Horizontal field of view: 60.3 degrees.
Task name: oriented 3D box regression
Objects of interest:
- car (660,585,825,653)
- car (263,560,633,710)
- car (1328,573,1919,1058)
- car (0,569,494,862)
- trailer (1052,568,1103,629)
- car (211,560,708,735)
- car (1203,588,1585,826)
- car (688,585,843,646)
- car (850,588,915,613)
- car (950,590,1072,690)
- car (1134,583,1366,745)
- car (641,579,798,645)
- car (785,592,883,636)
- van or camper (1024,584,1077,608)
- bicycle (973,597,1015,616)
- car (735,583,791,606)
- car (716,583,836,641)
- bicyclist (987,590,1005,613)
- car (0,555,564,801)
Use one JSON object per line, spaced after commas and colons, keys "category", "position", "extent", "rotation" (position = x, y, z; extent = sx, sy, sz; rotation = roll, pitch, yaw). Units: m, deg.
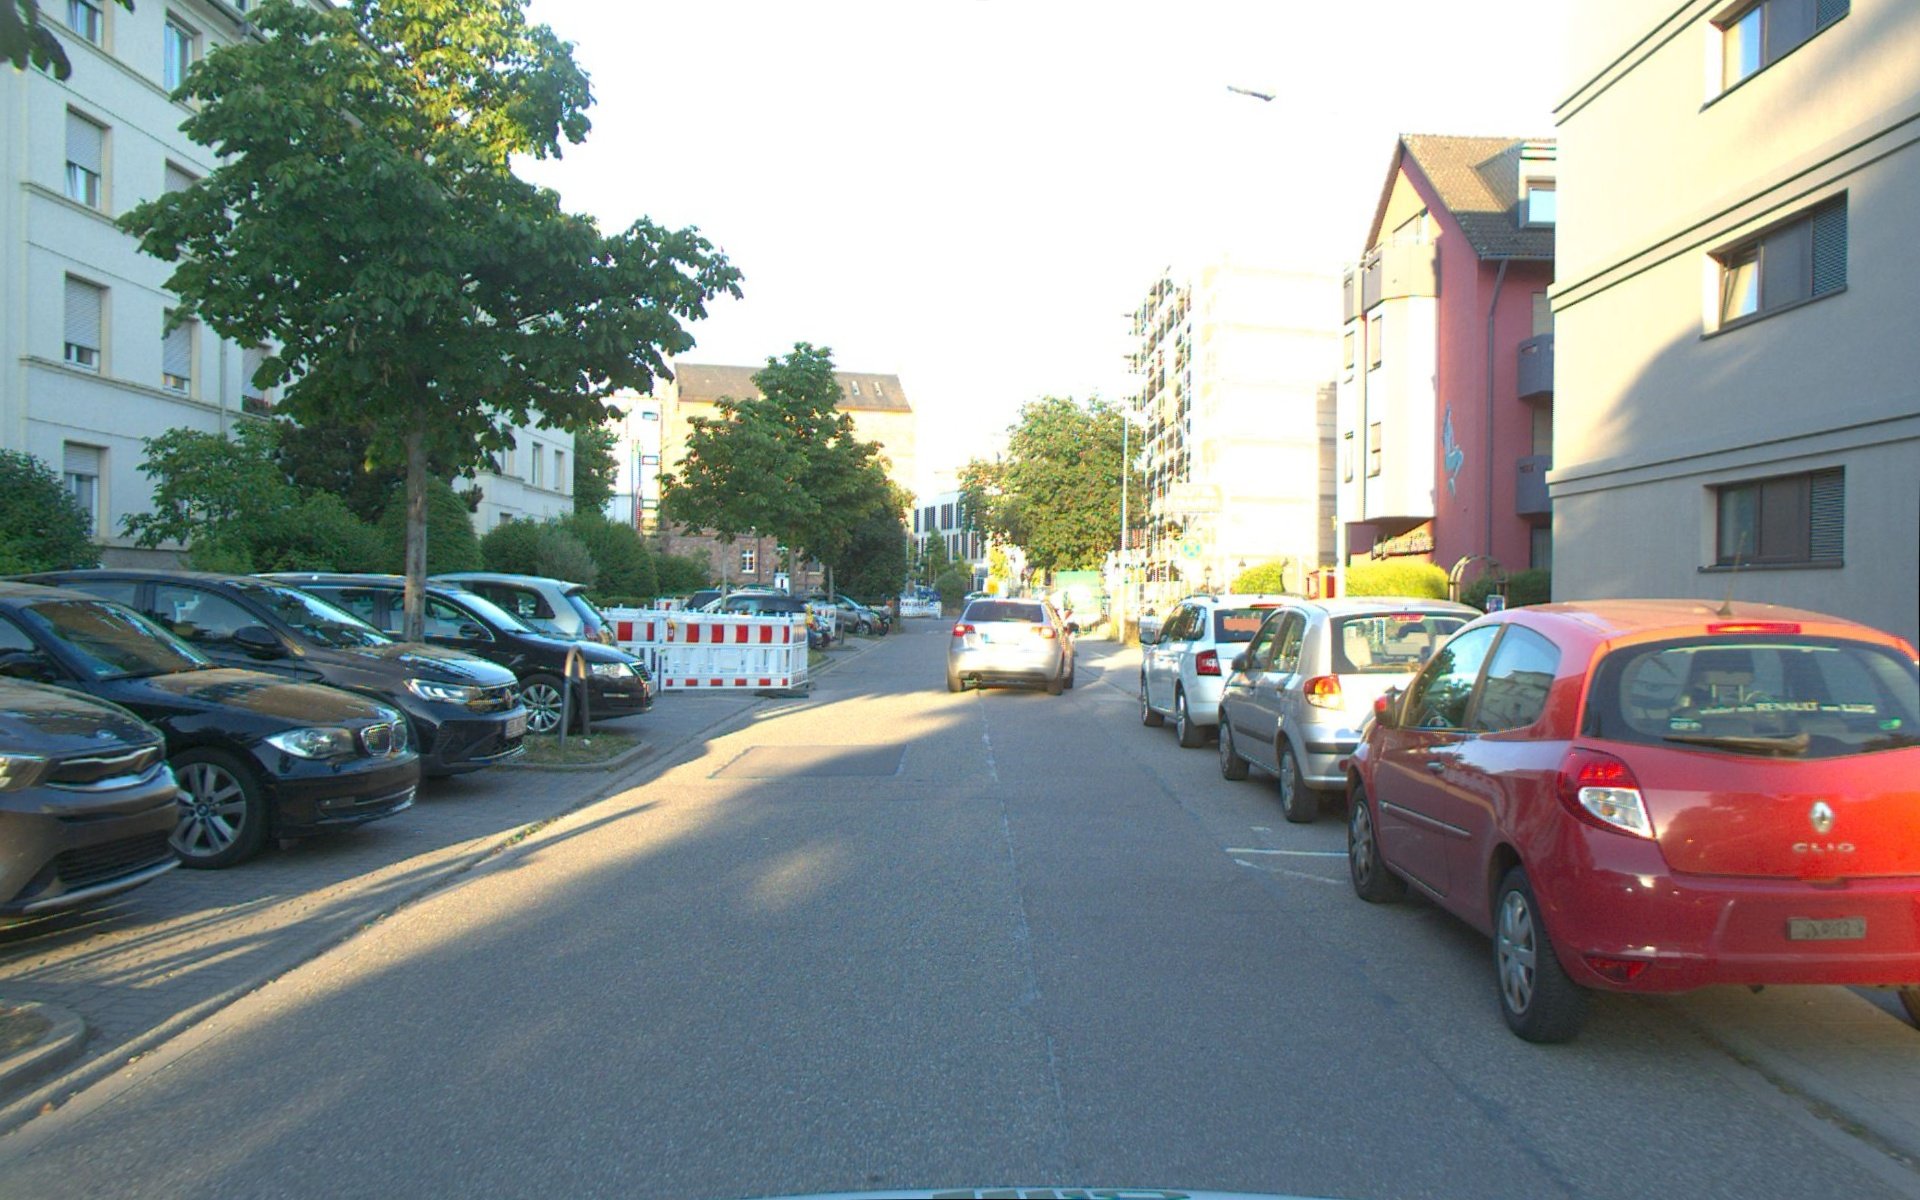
{"category": "car", "position": [-5.120, 0.451, 39.247], "extent": [3.601, 1.470, 1.728], "rotation": [2, -1, 2]}
{"category": "car", "position": [-5.775, 0.377, 18.945], "extent": [3.623, 1.510, 1.728], "rotation": [2, 0, 2]}
{"category": "car", "position": [2.817, 0.667, 7.019], "extent": [1.705, 1.495, 3.759], "rotation": [1, 0, 1]}
{"category": "car", "position": [-4.761, 0.561, 9.285], "extent": [3.762, 1.408, 1.607], "rotation": [2, 0, 2]}
{"category": "trailer", "position": [5.101, -0.070, 72.349], "extent": [1.952, 2.584, 4.186], "rotation": [0, 0, 1]}
{"category": "car", "position": [-4.925, 0.446, 16.680], "extent": [4.414, 1.510, 1.728], "rotation": [2, 0, 2]}
{"category": "car", "position": [3.033, 0.675, 12.388], "extent": [1.761, 1.495, 3.842], "rotation": [1, 0, -2]}
{"category": "car", "position": [-5.224, 0.425, 44.691], "extent": [3.895, 1.515, 1.728], "rotation": [2, -1, 2]}
{"category": "car", "position": [-5.416, 0.043, 115.404], "extent": [4.205, 1.738, 1.693], "rotation": [0, 0, -19]}
{"category": "car", "position": [0.751, 0.569, 25.696], "extent": [1.739, 1.421, 4.107], "rotation": [1, 0, 1]}
{"category": "car", "position": [2.908, 0.588, 17.343], "extent": [1.582, 1.495, 3.995], "rotation": [1, 0, -2]}
{"category": "car", "position": [-6.013, 0.316, 41.641], "extent": [3.601, 1.510, 1.728], "rotation": [2, -1, 2]}
{"category": "car", "position": [-4.767, 0.513, 62.765], "extent": [3.549, 1.584, 1.693], "rotation": [1, 0, -1]}
{"category": "van or camper", "position": [8.860, -0.406, 161.339], "extent": [4.892, 2.279, 1.676], "rotation": [1, 0, -22]}
{"category": "bicycle", "position": [2.188, 0.406, 106.978], "extent": [2.673, 1.240, 0.709], "rotation": [0, 0, -8]}
{"category": "car", "position": [-13.485, -0.376, 113.057], "extent": [3.573, 1.530, 1.630], "rotation": [0, 0, -17]}
{"category": "car", "position": [-5.437, 0.356, 49.146], "extent": [3.405, 1.593, 1.727], "rotation": [2, -1, -3]}
{"category": "bicyclist", "position": [2.310, 0.107, 107.000], "extent": [1.041, 1.483, 0.790], "rotation": [0, 0, -8]}
{"category": "car", "position": [-5.072, 0.504, 11.893], "extent": [3.948, 1.510, 1.728], "rotation": [2, 0, 2]}
